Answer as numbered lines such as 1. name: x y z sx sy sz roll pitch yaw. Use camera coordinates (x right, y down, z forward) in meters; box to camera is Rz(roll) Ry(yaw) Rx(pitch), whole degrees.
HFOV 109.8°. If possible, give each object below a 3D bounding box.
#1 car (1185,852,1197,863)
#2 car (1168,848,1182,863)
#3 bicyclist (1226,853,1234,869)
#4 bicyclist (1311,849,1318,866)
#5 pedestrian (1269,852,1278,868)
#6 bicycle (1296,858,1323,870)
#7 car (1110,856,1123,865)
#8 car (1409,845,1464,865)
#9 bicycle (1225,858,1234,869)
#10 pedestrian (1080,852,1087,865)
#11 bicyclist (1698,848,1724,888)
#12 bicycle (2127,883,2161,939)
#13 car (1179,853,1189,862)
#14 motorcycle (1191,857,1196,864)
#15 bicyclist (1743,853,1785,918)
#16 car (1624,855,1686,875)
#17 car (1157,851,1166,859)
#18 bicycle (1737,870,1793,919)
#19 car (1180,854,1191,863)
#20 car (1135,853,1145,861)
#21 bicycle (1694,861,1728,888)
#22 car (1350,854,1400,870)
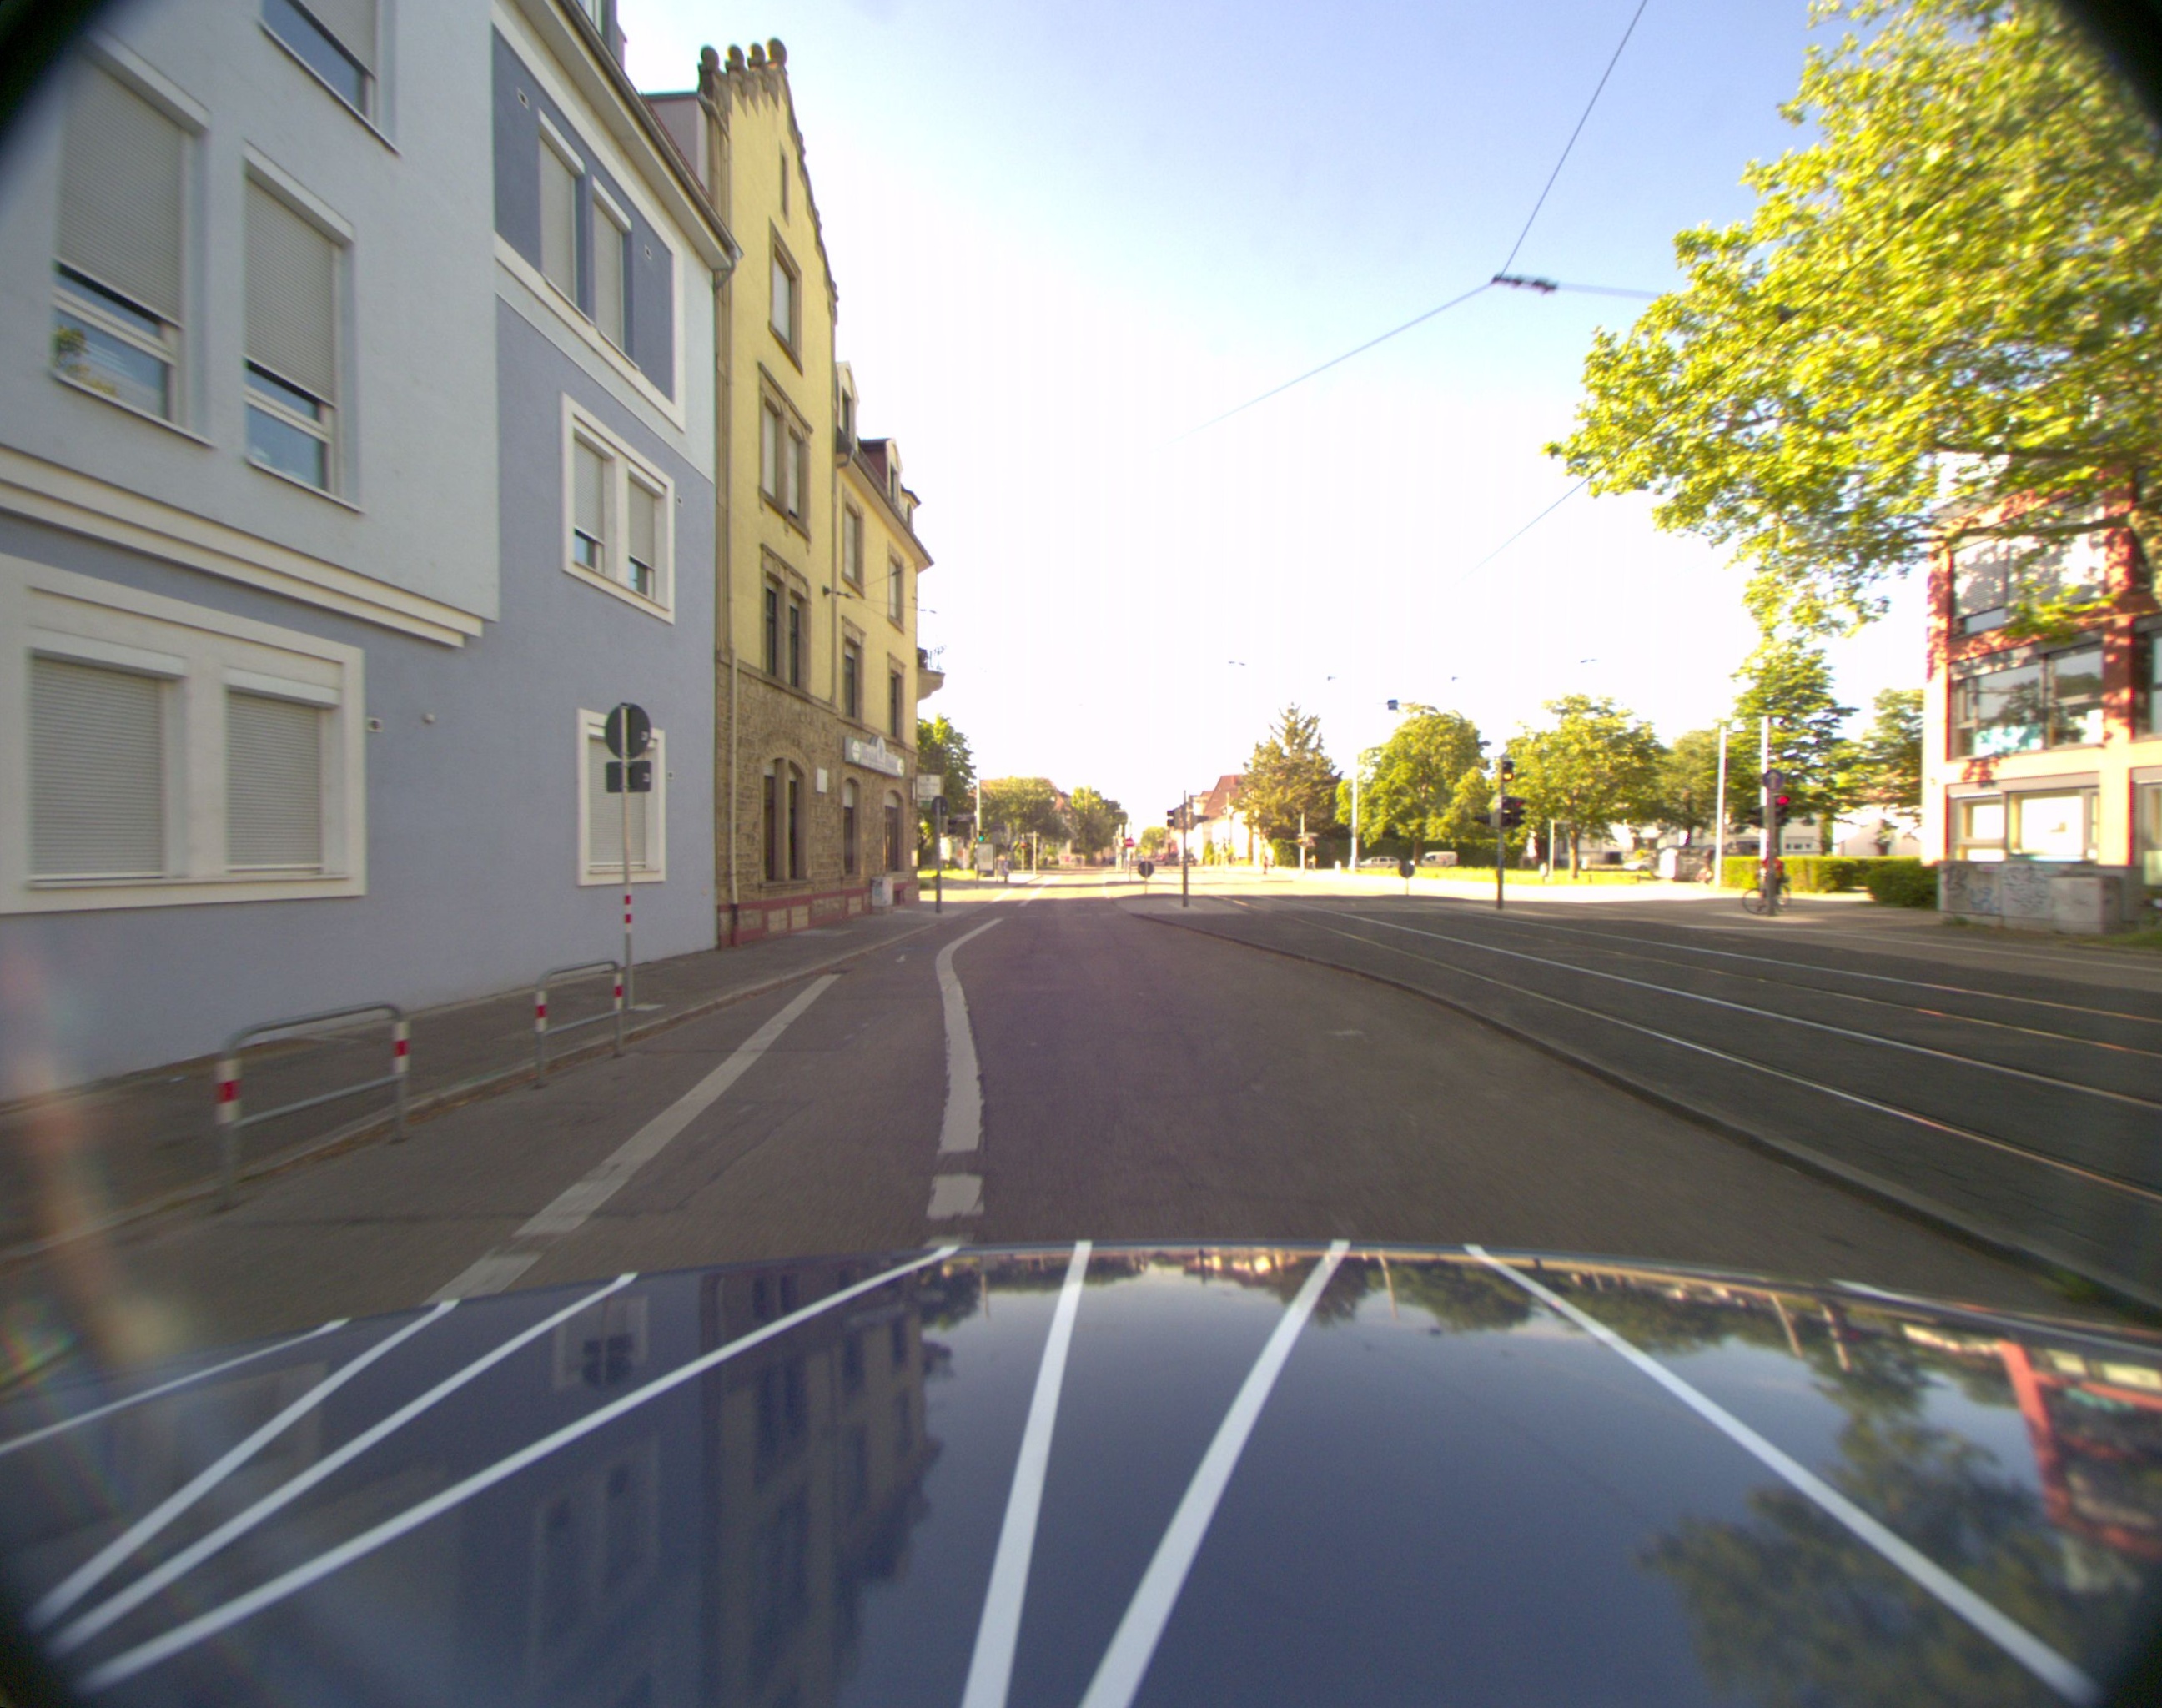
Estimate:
1. car: 19.205 0.628 132.418 1.923 1.889 4.002 -2 0 7
2. car: 13.865 0.217 111.740 2.023 2.001 5.254 2 -1 7
3. bicyclist: 15.340 0.717 78.348 0.588 1.701 0.901 1 0 2
4. bicyclist: 21.851 0.310 71.188 0.559 1.613 0.899 0 1 12
5. pedestrian: 19.322 0.622 76.293 0.680 1.547 0.622 -2 0 -44
6. bicycle: 21.422 0.944 71.299 2.283 1.111 0.931 0 0 12
7. car: 6.098 1.143 130.555 1.704 1.541 4.003 -2 0 10
8. car: 33.609 0.104 71.893 4.310 1.856 1.817 -1 1 7
9. bicycle: 15.338 1.000 78.459 0.588 1.107 1.827 1 0 2
10. pedestrian: 0.269 0.541 92.270 0.654 1.664 0.944 2 0 7
11. bicyclist: 25.560 0.555 30.828 0.645 1.602 0.782 -2 0 28
12. bicycle: 18.270 0.957 12.262 0.522 0.901 1.541 0 1 -19
13. car: 20.711 0.747 152.978 1.923 1.704 4.002 -2 0 5
14. motorcycle: 17.402 1.065 117.383 0.605 1.040 2.438 -2 0 7
15. bicyclist: 17.996 0.815 20.032 0.605 1.682 0.934 -2 0 30
16. car: 52.472 0.994 69.546 4.196 1.732 1.817 0 0 7
17. car: 19.290 0.285 182.732 1.923 1.704 4.003 -2 0 8
18. bicycle: 17.993 1.042 20.016 0.632 1.123 2.039 -3 1 30
19. car: 20.208 0.922 146.978 1.923 1.704 4.002 -2 0 5
20. car: 13.254 0.665 170.246 1.923 1.704 4.002 -2 0 7
21. bicycle: 25.630 0.831 30.939 0.645 1.036 1.929 -2 0 28
22. car: 27.070 0.759 70.054 3.993 1.425 1.818 0 0 10
